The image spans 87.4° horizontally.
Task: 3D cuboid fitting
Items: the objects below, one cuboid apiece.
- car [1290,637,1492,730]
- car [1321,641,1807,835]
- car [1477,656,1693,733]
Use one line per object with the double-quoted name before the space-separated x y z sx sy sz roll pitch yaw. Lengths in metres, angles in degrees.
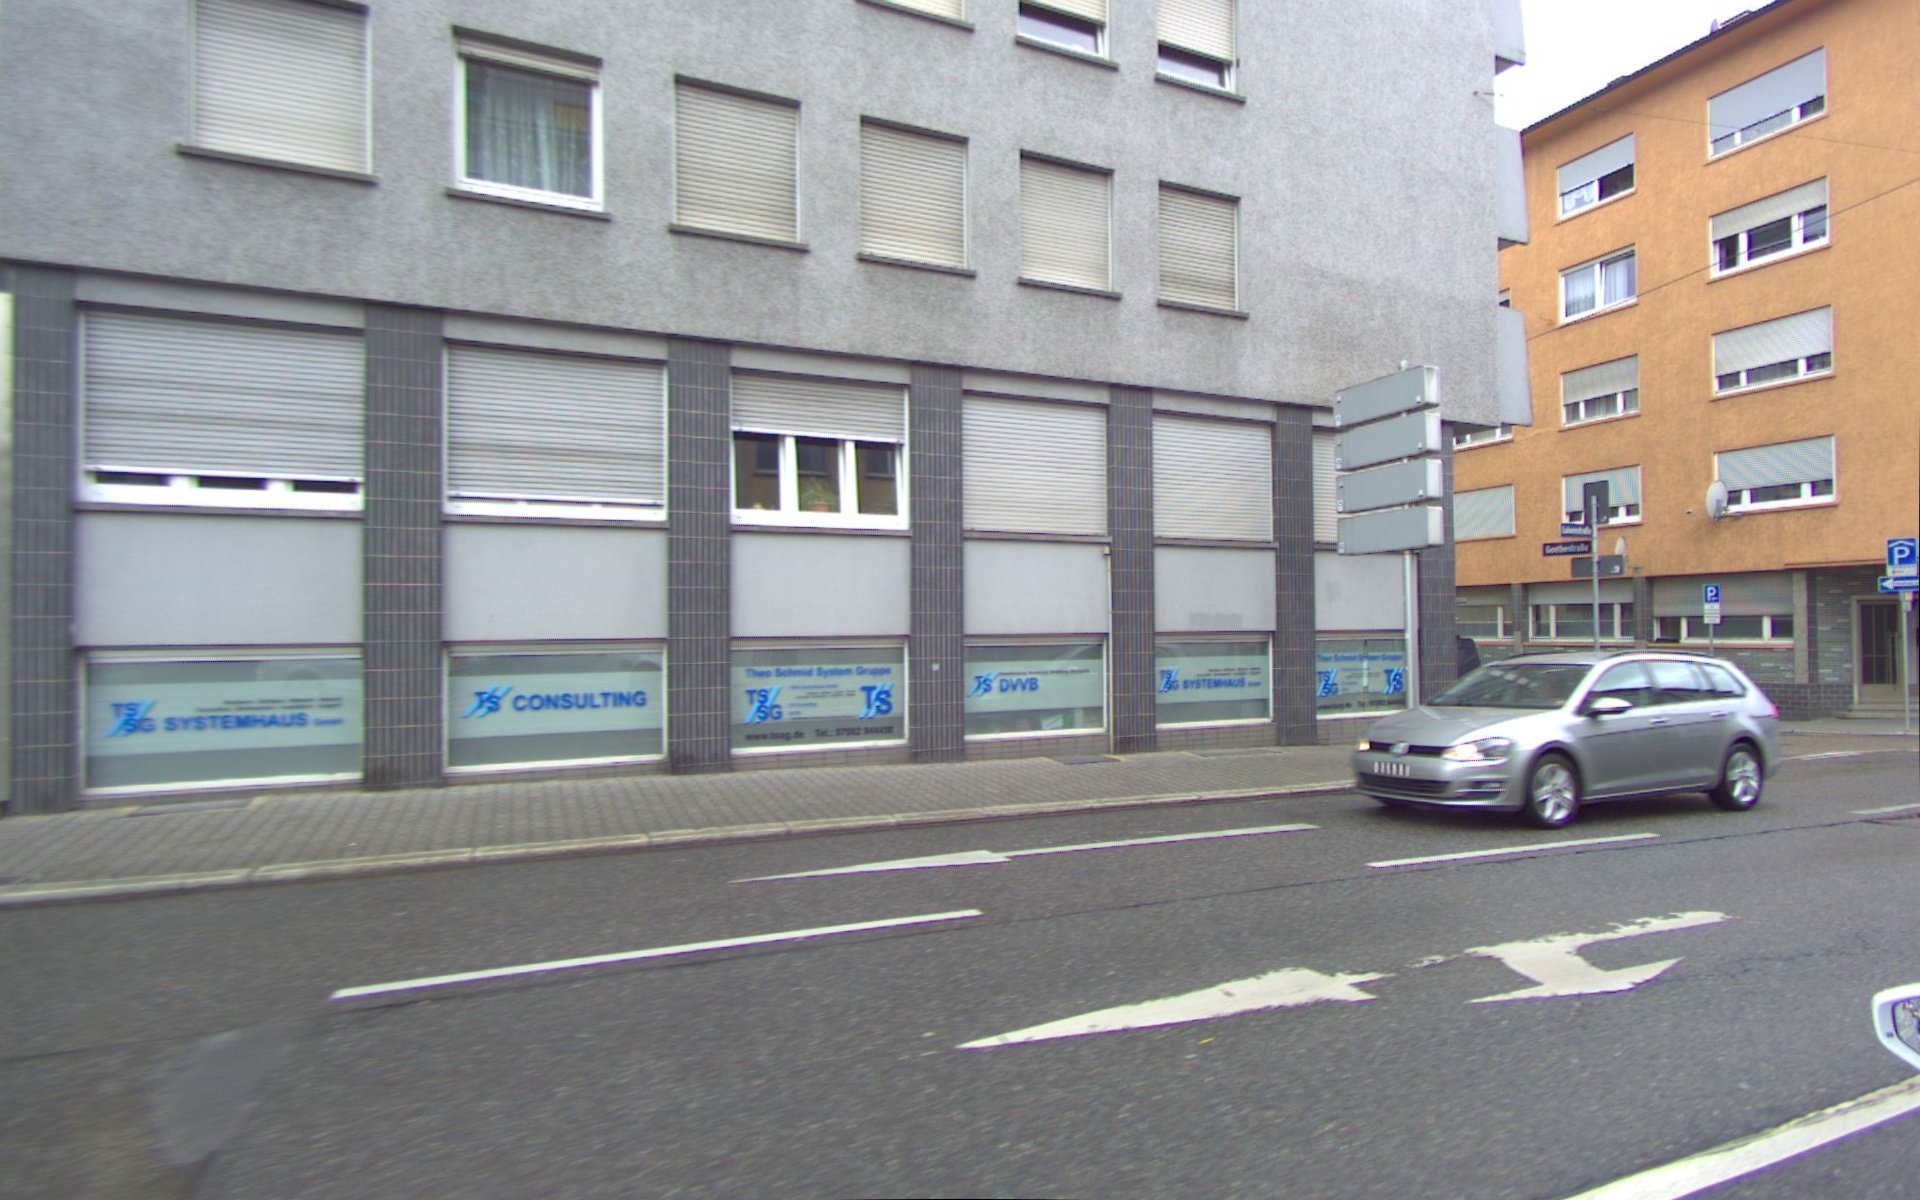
"car" 12.574 2.551 29.758 1.959 2.490 5.322 1 -7 -29
"car" 5.695 1.178 9.461 4.237 1.434 1.822 0 -6 -25
"car" 14.958 2.309 24.300 1.903 1.673 3.981 1 -6 -23
